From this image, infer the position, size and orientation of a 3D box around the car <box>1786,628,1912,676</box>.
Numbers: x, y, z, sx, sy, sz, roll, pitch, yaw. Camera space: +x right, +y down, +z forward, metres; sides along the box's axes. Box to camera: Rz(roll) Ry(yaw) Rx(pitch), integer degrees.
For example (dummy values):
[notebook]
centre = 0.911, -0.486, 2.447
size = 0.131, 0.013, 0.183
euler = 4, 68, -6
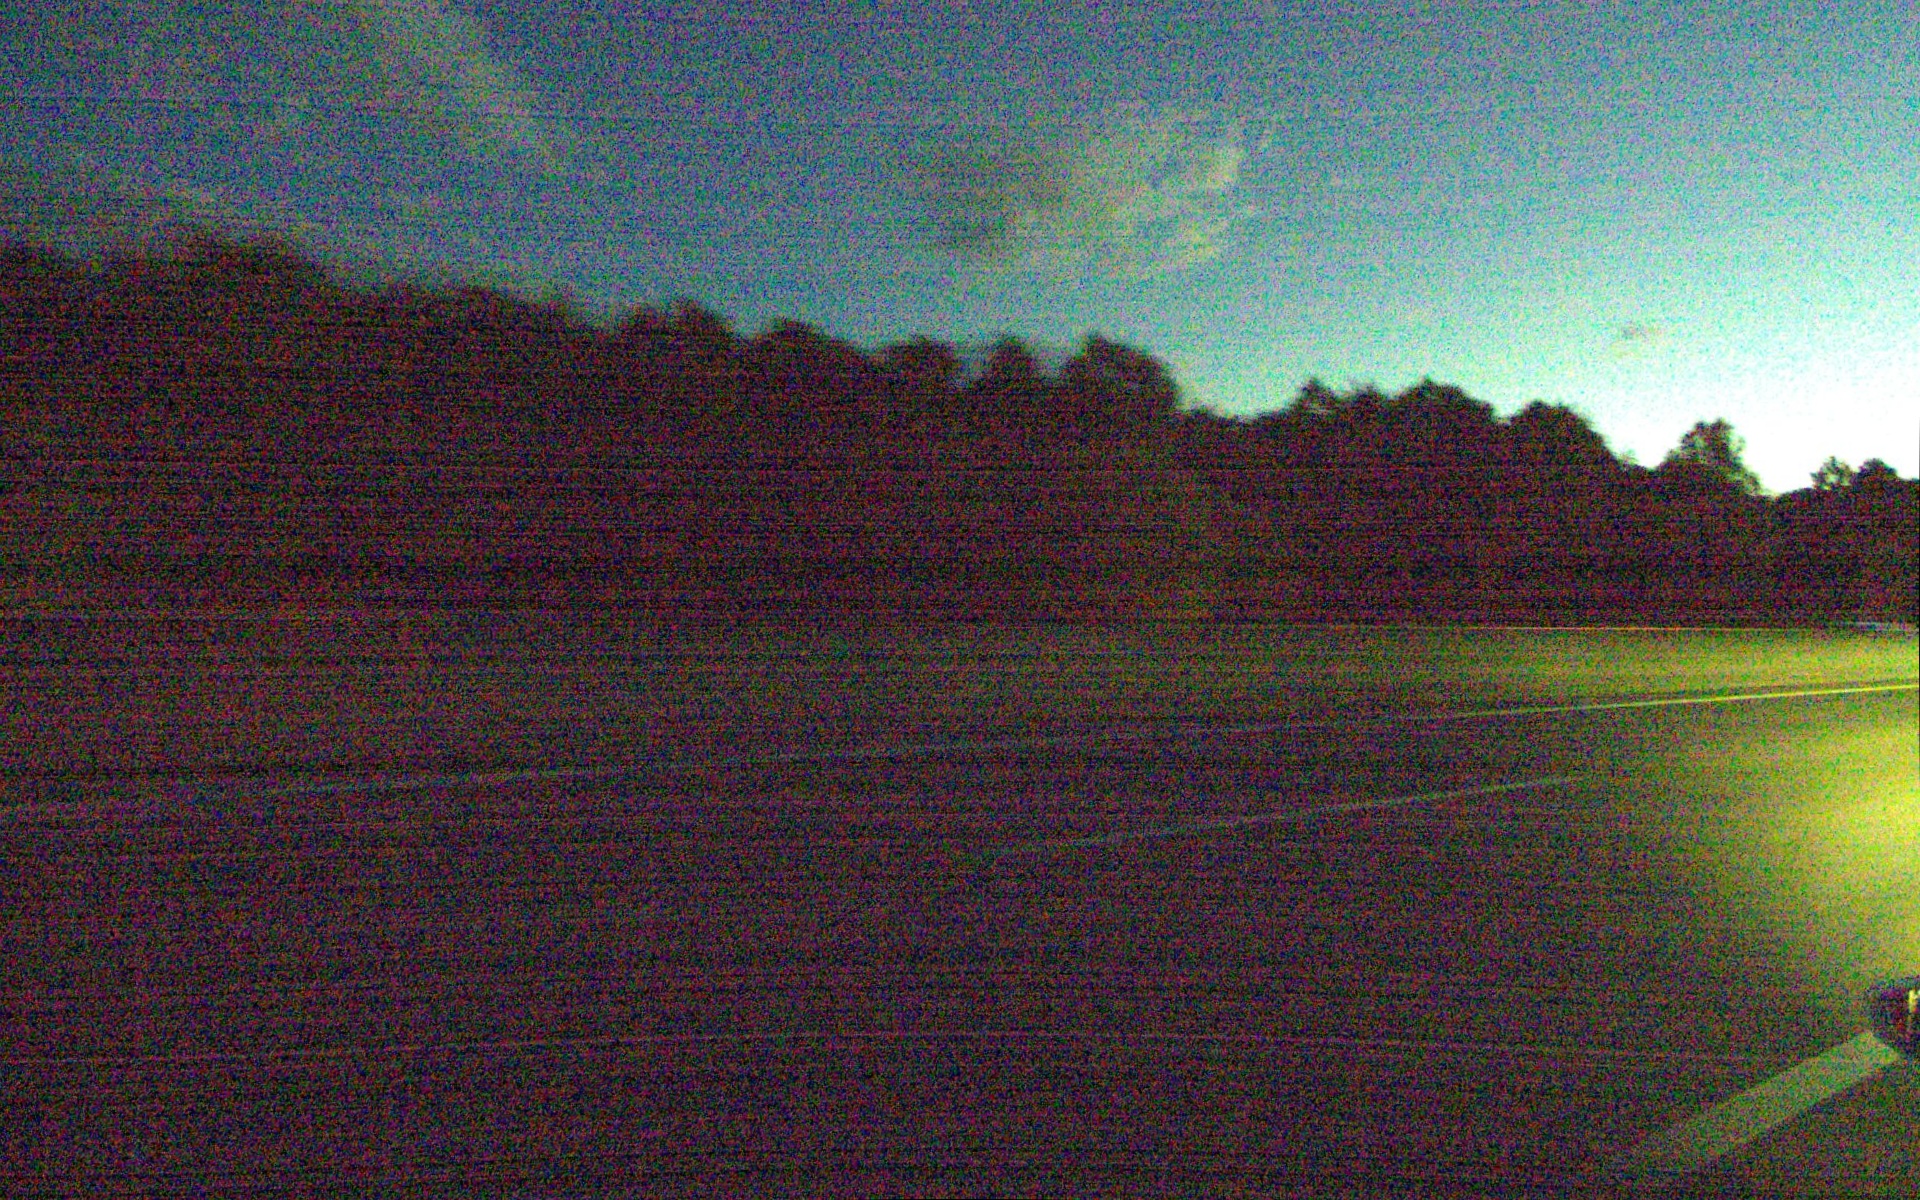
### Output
[car]
centre = 30.436, 1.773, 34.370
size = 4.348, 1.488, 1.984
euler = 2, -1, -30
